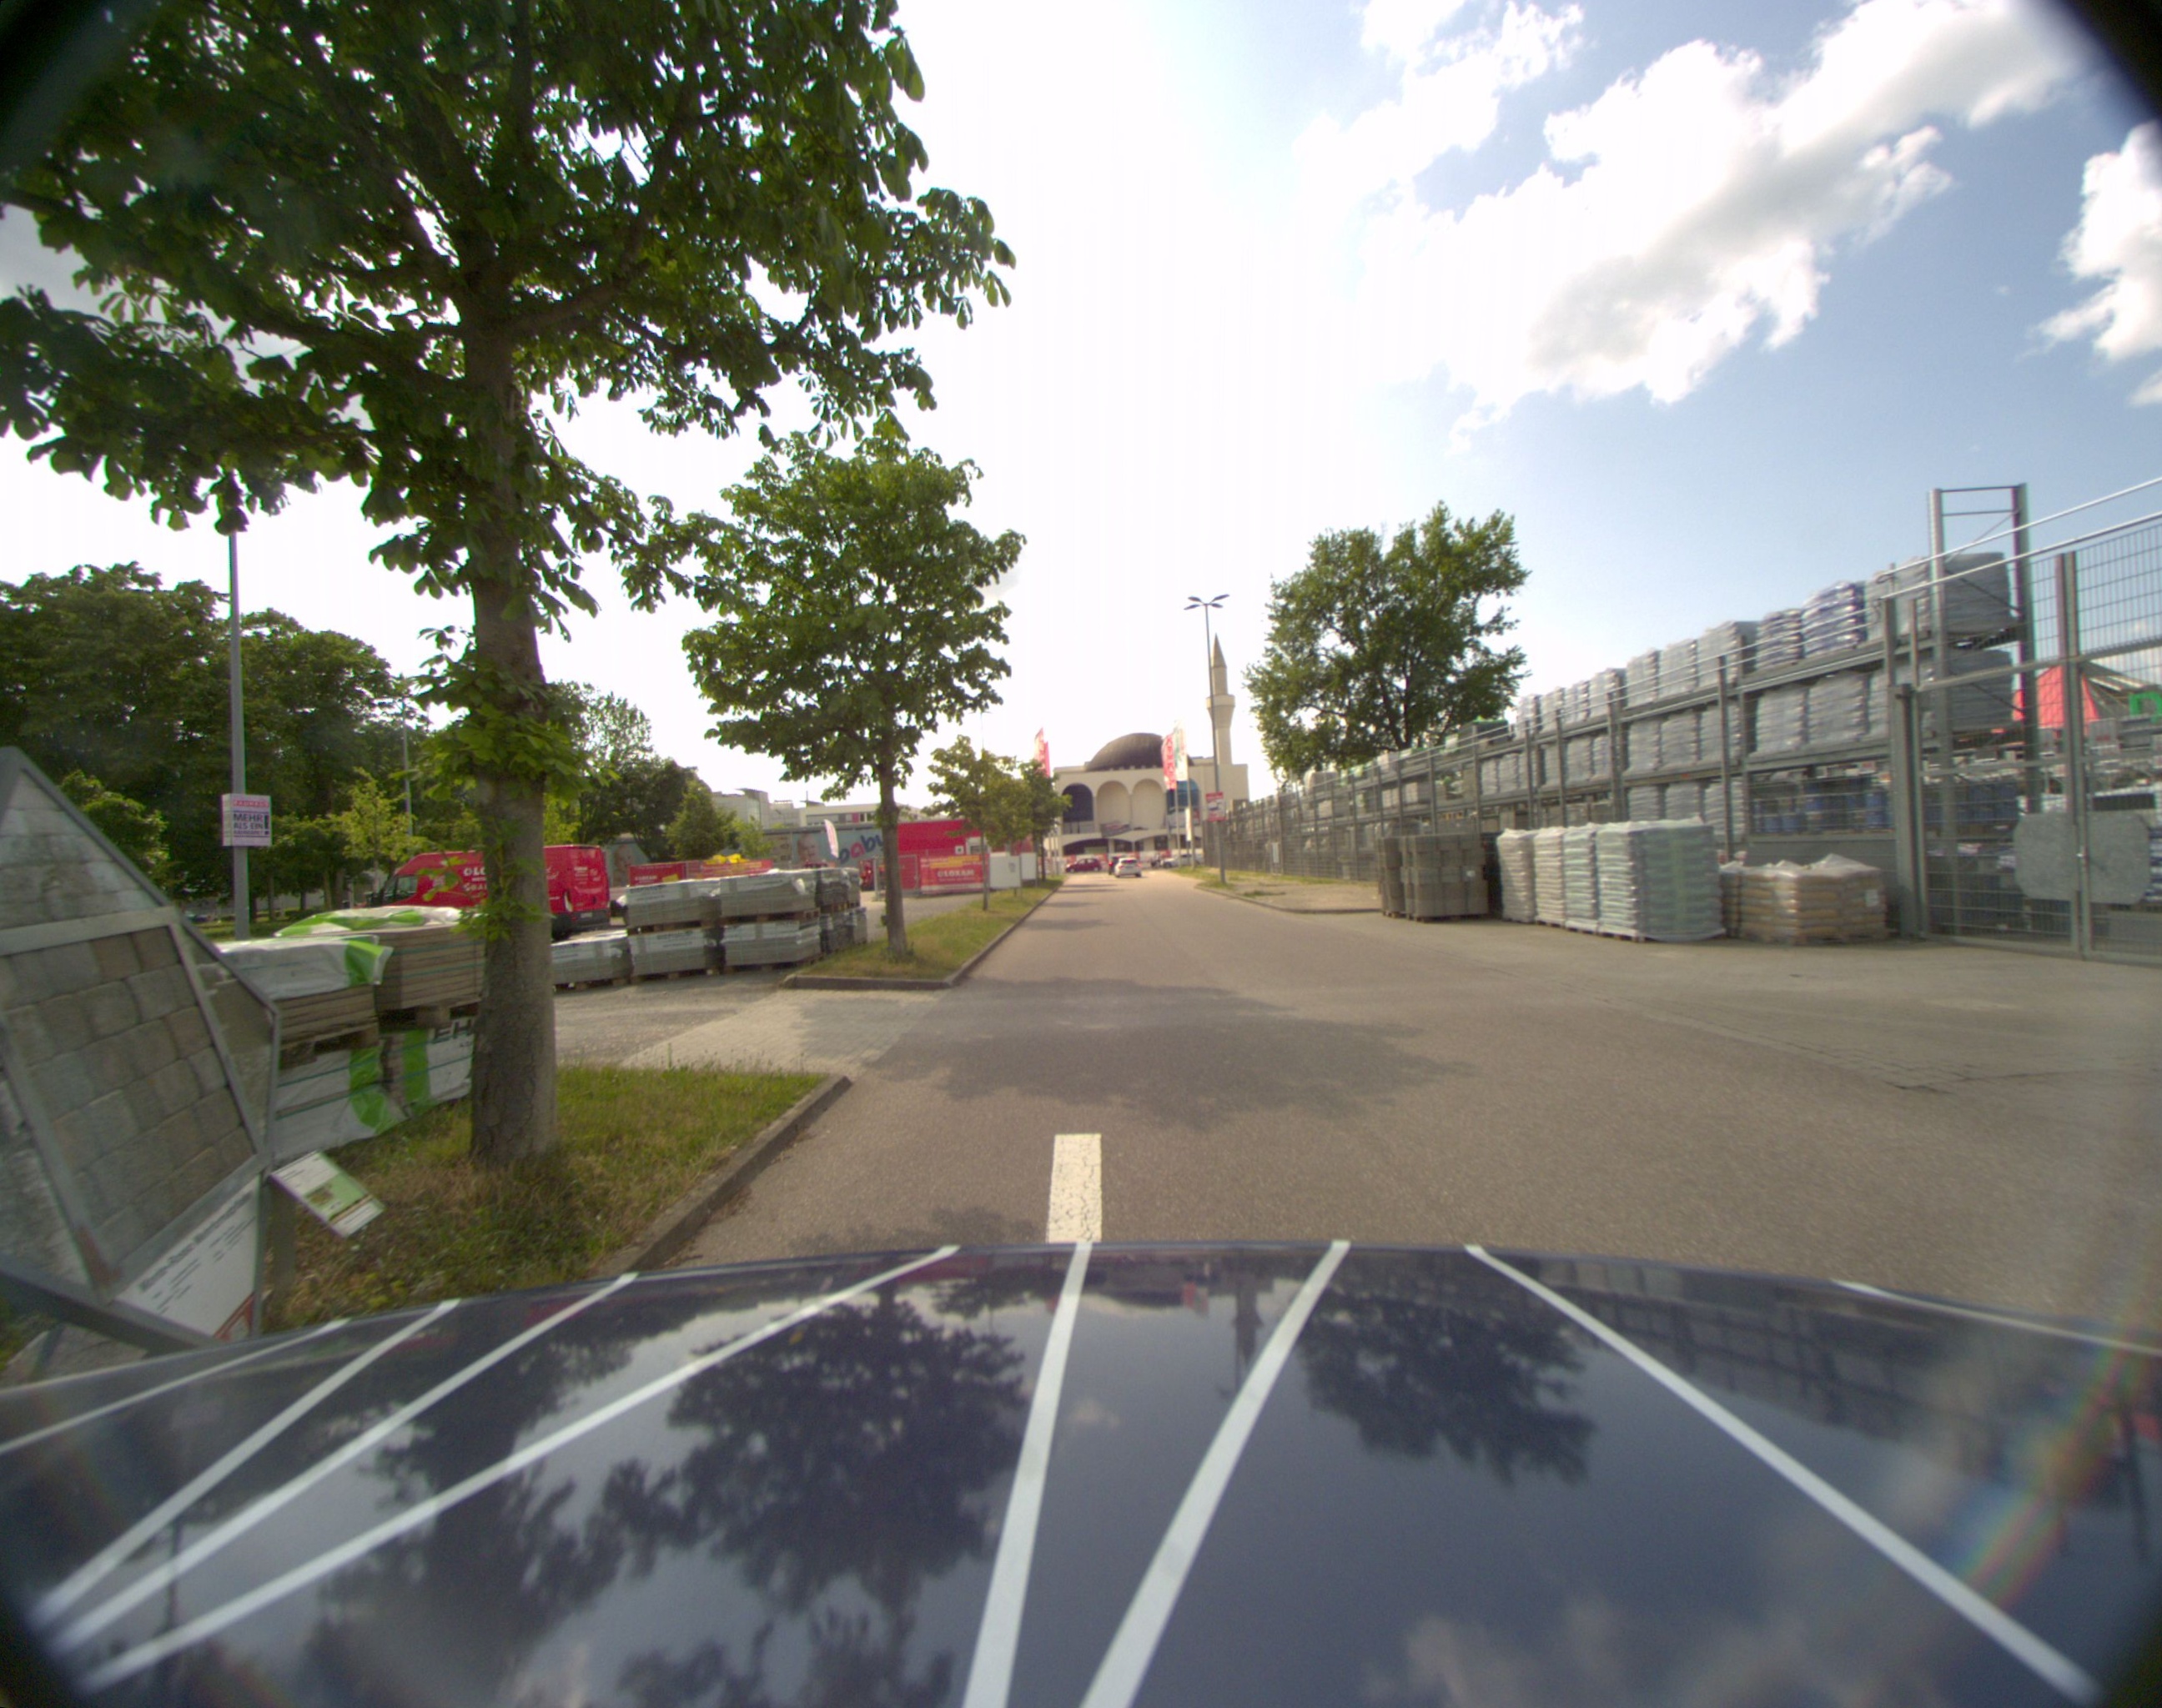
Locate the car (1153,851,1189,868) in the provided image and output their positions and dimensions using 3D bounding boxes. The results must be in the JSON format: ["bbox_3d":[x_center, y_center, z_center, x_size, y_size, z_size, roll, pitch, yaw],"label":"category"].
[{"bbox_3d":[9.285,0.577,78.217,3.484,1.491,1.775,-2,4,2],"label":"car"}]

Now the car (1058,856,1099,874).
[{"bbox_3d":[-0.276,1.080,76.551,3.997,1.636,1.907,-3,0,-2],"label":"car"}]

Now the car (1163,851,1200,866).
[{"bbox_3d":[10.581,0.476,80.341,3.707,1.358,1.651,-2,0,3],"label":"car"}]

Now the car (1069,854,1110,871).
[{"bbox_3d":[0.940,0.872,80.285,4.190,1.500,1.792,-3,0,2],"label":"car"}]

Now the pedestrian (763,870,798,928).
[{"bbox_3d":[-9.204,1.367,23.303,0.600,1.682,0.879,-2,1,3],"label":"pedestrian"}]

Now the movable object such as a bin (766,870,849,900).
[{"bbox_3d":[-15.977,1.796,44.650,3.583,1.371,3.083,-2,2,4],"label":"movable object such as a bin"}]

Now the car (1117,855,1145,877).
[{"bbox_3d":[3.683,0.878,56.384,1.808,1.456,4.329,-3,0,1],"label":"car"}]

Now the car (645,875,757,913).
[{"bbox_3d":[-17.051,1.784,34.259,4.144,1.406,1.617,-2,1,-5],"label":"car"}]

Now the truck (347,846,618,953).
[{"bbox_3d":[-15.977,1.165,20.537,5.442,2.500,2.116,-3,0,-2],"label":"truck"}]

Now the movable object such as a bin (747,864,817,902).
[{"bbox_3d":[-15.714,1.510,39.990,3.010,1.833,1.389,-3,0,1],"label":"movable object such as a bin"}]

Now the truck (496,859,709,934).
[{"bbox_3d":[-16.498,1.417,26.464,5.860,2.242,2.173,-3,0,-2],"label":"truck"}]

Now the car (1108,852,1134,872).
[{"bbox_3d":[3.491,0.720,66.926,1.920,1.608,4.374,-2,0,0],"label":"car"}]

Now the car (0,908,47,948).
[{"bbox_3d":[-50.317,3.452,34.790,3.484,1.646,1.903,-2,1,4],"label":"car"}]
